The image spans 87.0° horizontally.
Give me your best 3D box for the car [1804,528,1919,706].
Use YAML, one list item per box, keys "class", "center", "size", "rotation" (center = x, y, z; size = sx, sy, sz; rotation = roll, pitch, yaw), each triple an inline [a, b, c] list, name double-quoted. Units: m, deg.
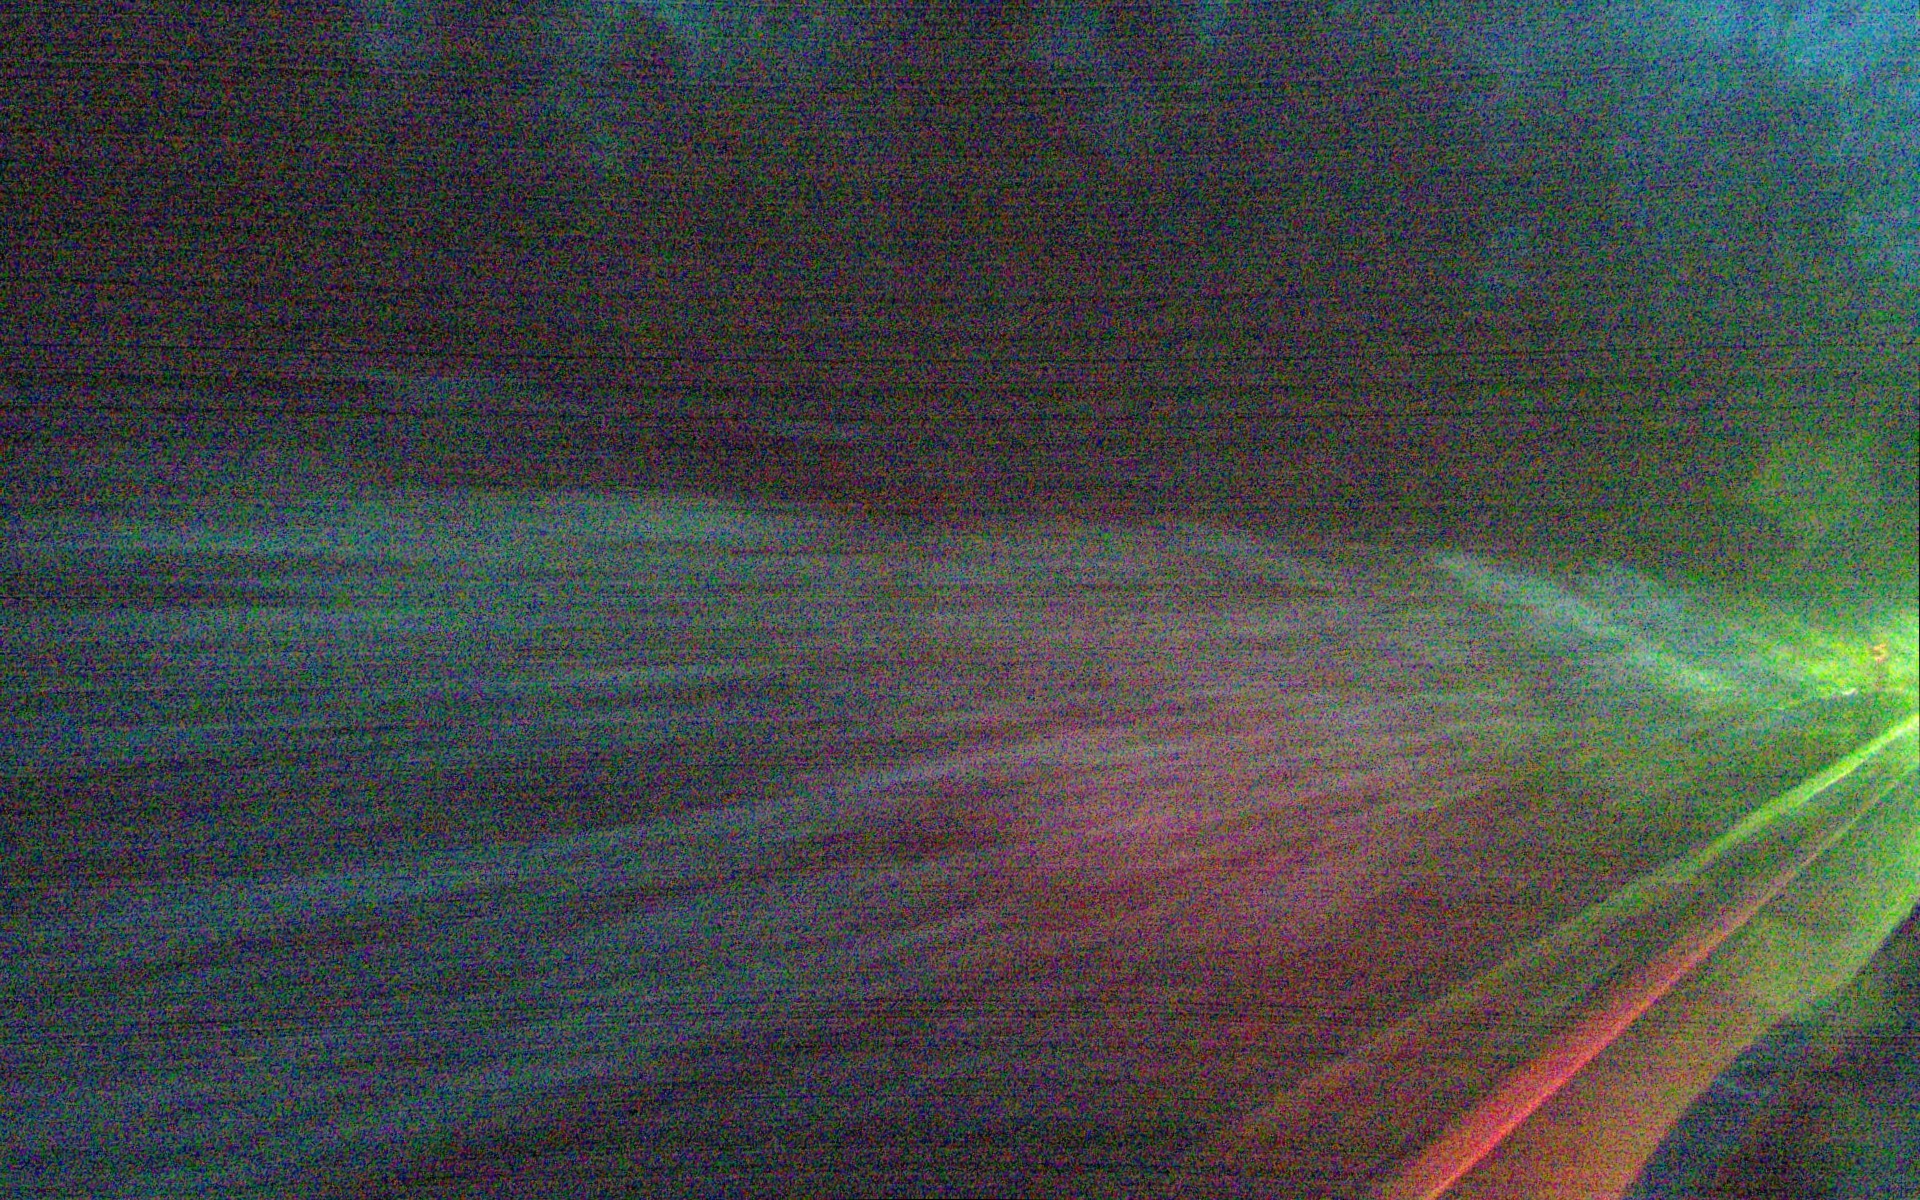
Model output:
- class: "car"
  center: [12.647, 0.207, 12.916]
  size: [4.133, 2.039, 2.201]
  rotation: [1, -1, -40]
